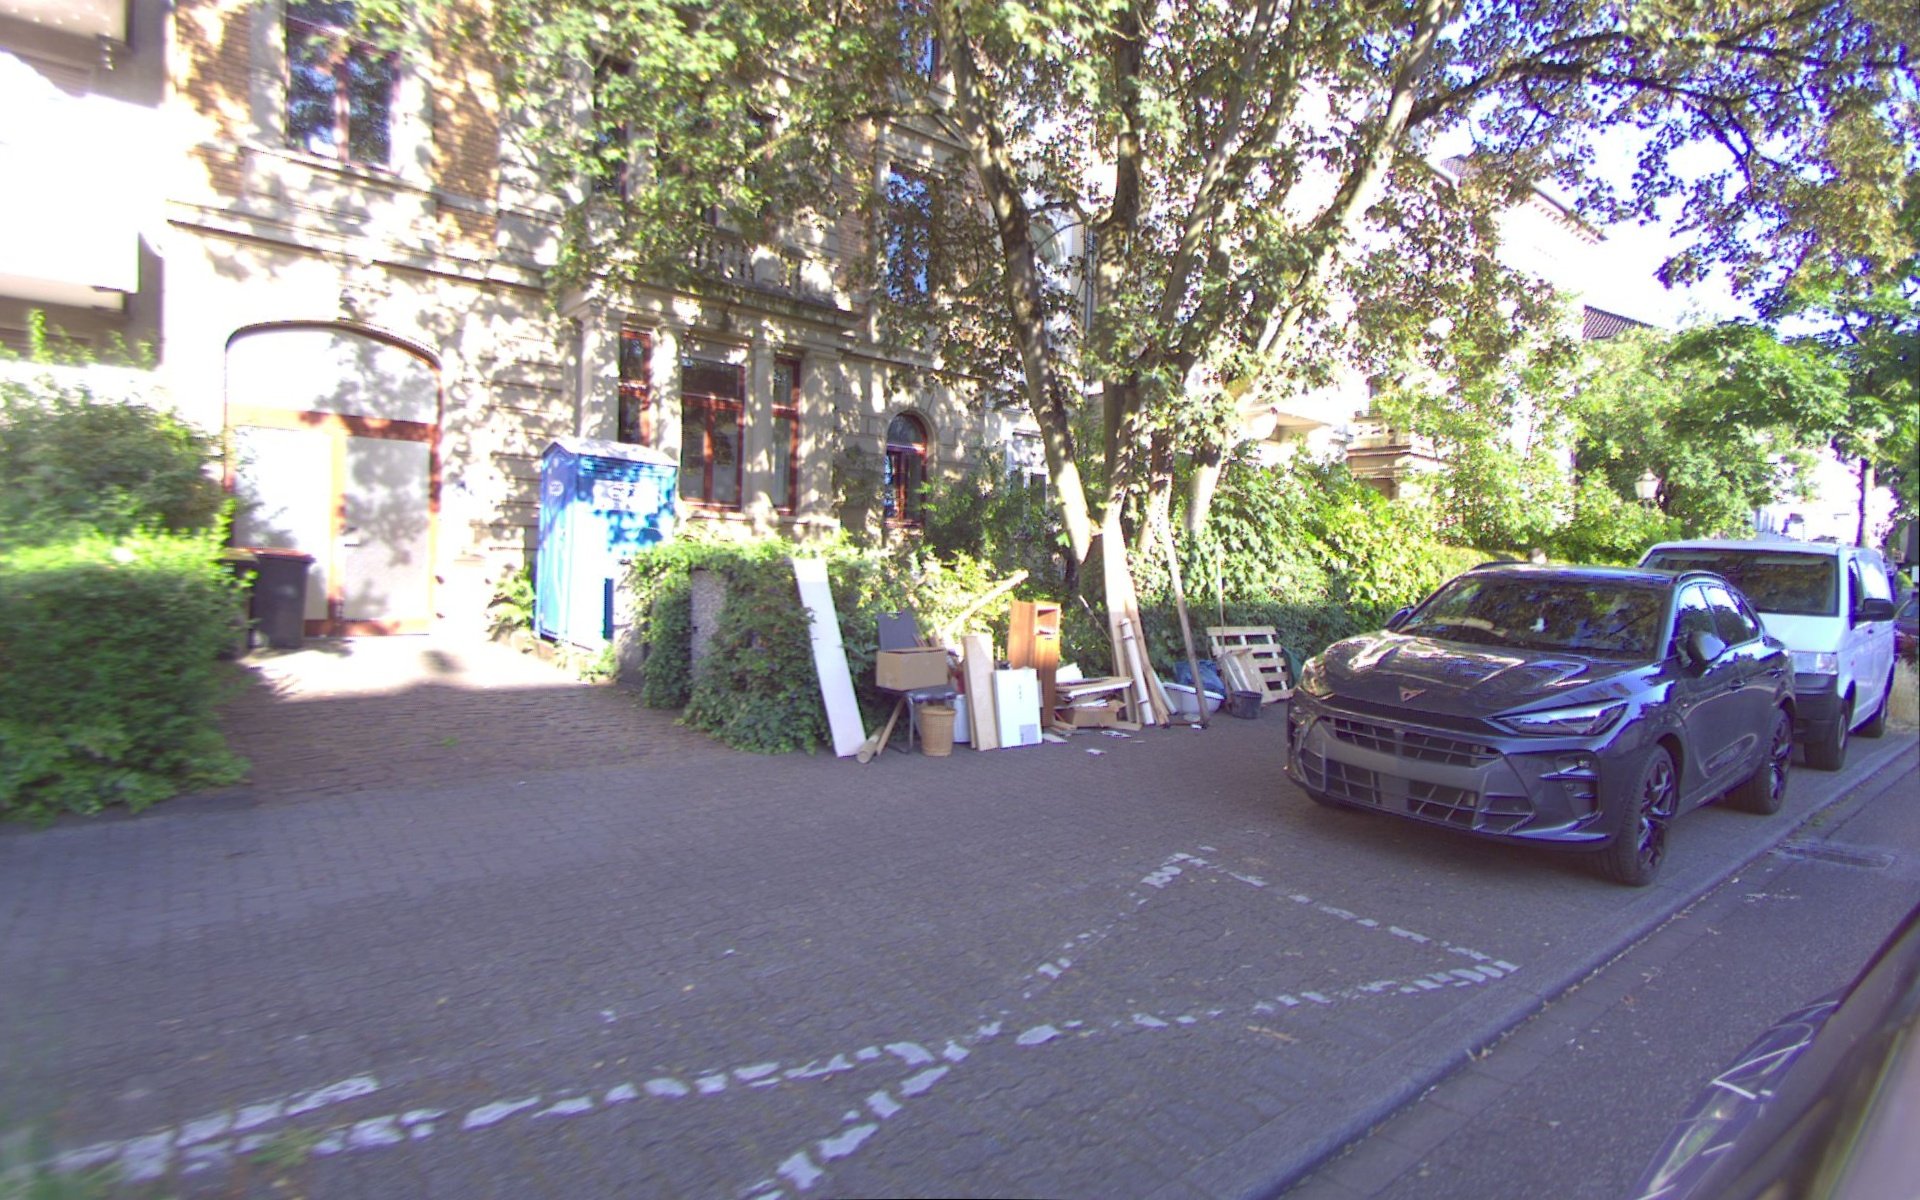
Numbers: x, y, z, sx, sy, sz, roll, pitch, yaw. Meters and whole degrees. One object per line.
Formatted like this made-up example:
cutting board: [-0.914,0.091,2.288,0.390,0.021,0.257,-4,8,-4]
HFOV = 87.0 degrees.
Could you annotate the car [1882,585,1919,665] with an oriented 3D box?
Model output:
car: [19.625,0.492,19.790,4.534,1.437,1.761,-1,4,-41]

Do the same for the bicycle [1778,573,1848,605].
bicycle: [40.995,-0.562,48.670,0.912,1.459,2.457,0,2,-42]

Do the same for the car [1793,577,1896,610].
car: [45.744,-0.362,52.384,1.550,1.523,3.869,0,2,-44]

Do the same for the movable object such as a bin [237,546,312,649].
movable object such as a bin: [-7.402,-0.035,10.927,0.611,1.071,0.452,0,2,-42]

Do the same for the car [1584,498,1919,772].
car: [8.082,0.222,10.126,4.561,2.129,1.906,-1,2,-42]

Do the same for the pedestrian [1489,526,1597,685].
pedestrian: [6.959,0.041,12.080,1.071,1.796,0.821,0,2,-44]

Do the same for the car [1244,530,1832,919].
car: [3.851,0.474,6.421,4.236,1.623,1.860,0,5,-41]

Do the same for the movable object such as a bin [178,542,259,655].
movable object such as a bin: [-7.300,-0.025,9.967,0.611,1.071,0.408,0,2,-42]
